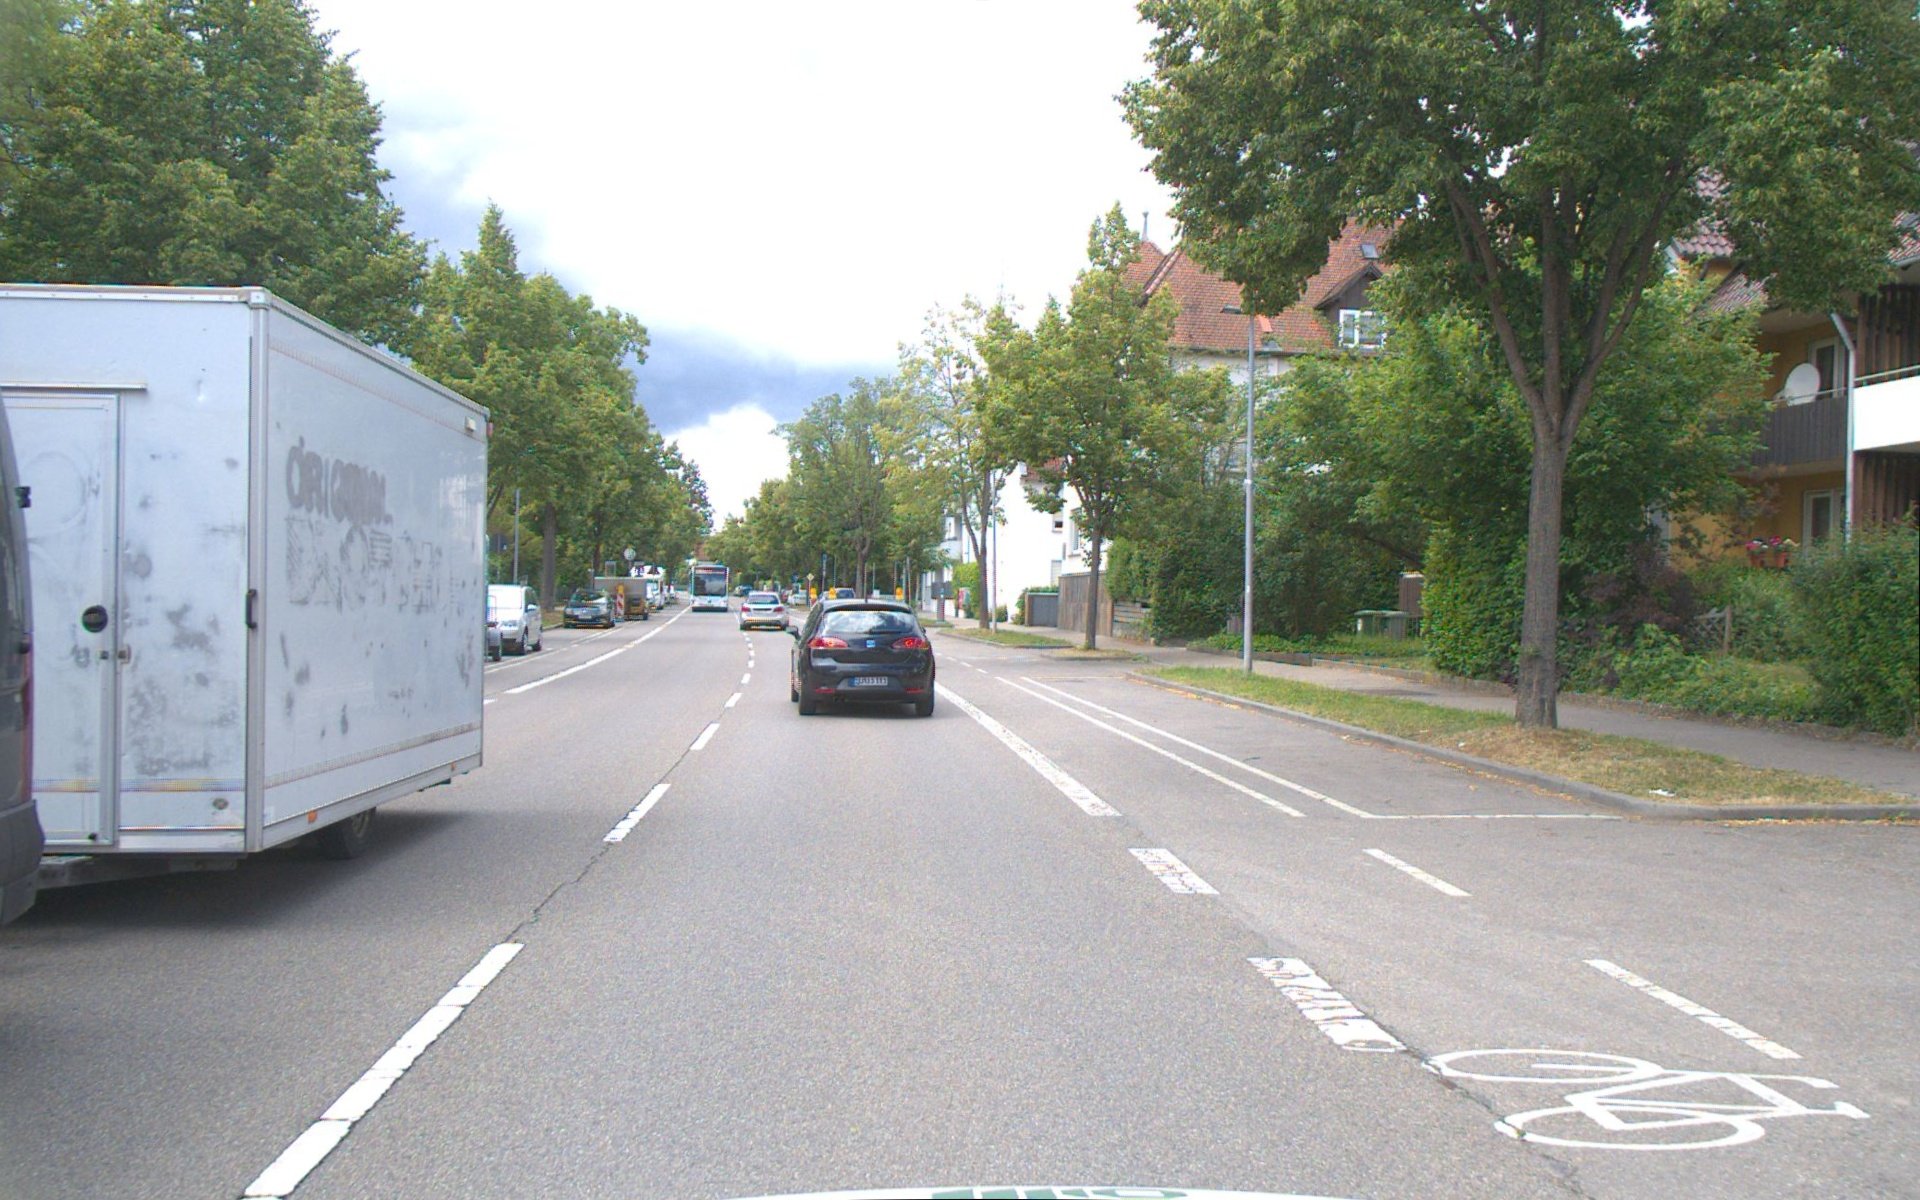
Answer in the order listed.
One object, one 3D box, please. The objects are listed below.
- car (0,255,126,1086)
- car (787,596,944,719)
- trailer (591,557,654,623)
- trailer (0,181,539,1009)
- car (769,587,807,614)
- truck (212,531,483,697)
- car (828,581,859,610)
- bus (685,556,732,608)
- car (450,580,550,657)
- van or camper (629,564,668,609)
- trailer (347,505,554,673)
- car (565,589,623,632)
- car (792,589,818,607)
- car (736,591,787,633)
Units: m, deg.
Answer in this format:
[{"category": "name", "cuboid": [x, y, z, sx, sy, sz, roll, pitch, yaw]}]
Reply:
[{"category": "car", "cuboid": [-3.751, 0.215, 2.625, 2.018, 2.523, 6.308, 1, 0, -4]}, {"category": "car", "cuboid": [-1.319, 0.697, 21.721, 1.750, 1.474, 3.551, 1, 0, -8]}, {"category": "trailer", "cuboid": [-16.367, -0.436, 80.507, 2.624, 2.992, 7.459, 1, -1, -9]}, {"category": "trailer", "cuboid": [-4.342, -0.041, 9.224, 2.582, 2.929, 6.866, 1, 0, -4]}, {"category": "car", "cuboid": [-10.368, -0.001, 99.349, 1.957, 1.557, 3.990, 1, 0, -10]}, {"category": "truck", "cuboid": [-9.555, 0.189, 26.527, 2.249, 2.327, 6.459, 0, 0, -3]}, {"category": "car", "cuboid": [-7.057, -0.282, 99.867, 1.602, 1.694, 3.641, 1, 0, -8]}, {"category": "bus", "cuboid": [-17.765, -1.127, 117.614, 2.752, 3.346, 18.015, 1, -1, -7]}, {"category": "car", "cuboid": [-10.912, 0.430, 39.492, 1.657, 1.713, 4.219, 1, -1, -7]}, {"category": "van or camper", "cuboid": [-22.078, -0.936, 117.558, 2.390, 3.062, 7.678, 1, 0, -8]}, {"category": "trailer", "cuboid": [-10.021, -0.212, 33.233, 2.325, 3.015, 7.006, 0, 0, -3]}, {"category": "car", "cuboid": [-14.484, 0.442, 65.648, 1.825, 1.580, 4.611, 1, -2, -8]}, {"category": "car", "cuboid": [-13.457, -0.191, 143.038, 1.983, 1.468, 5.016, 1, 0, -8]}, {"category": "car", "cuboid": [-7.895, 0.458, 66.019, 1.955, 1.585, 3.994, 1, 0, -6]}]
